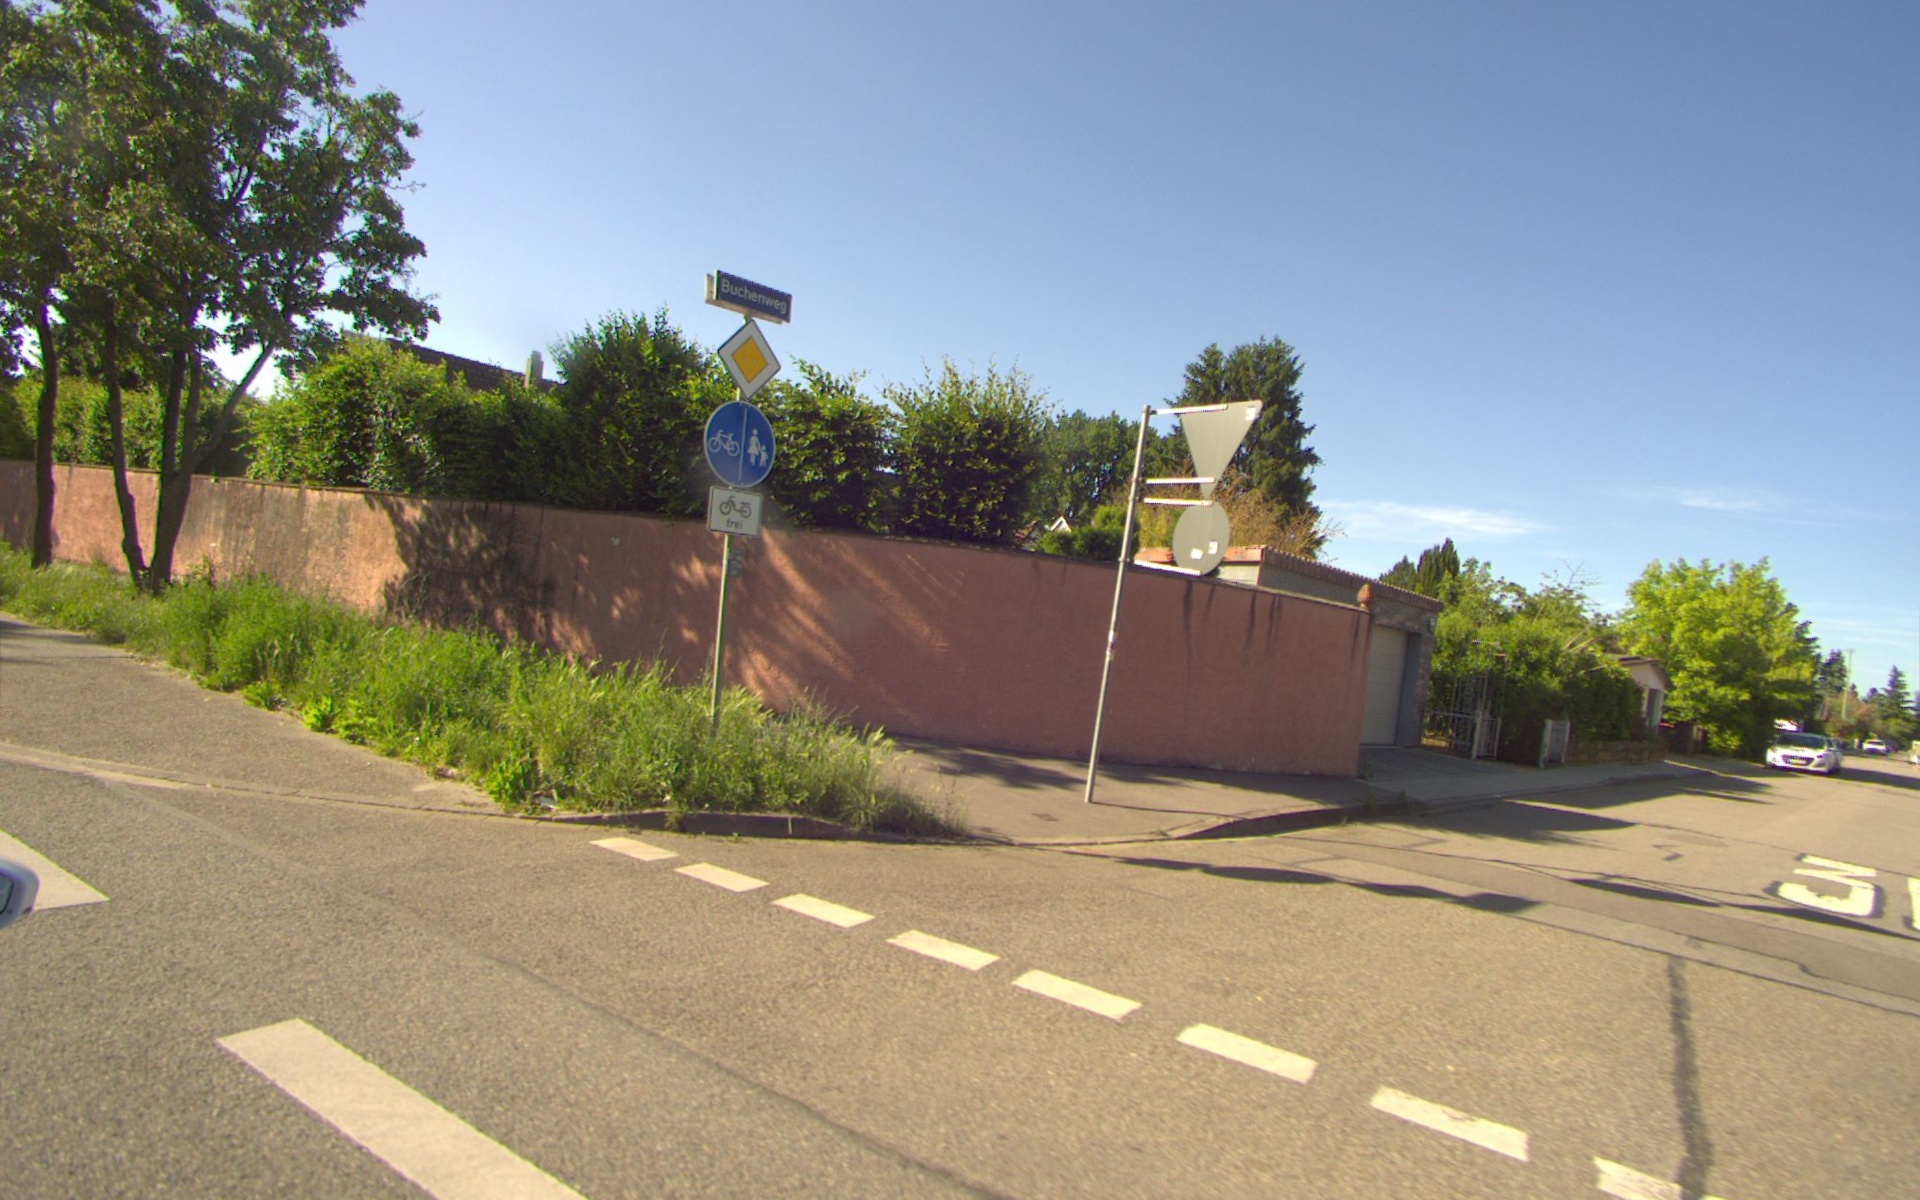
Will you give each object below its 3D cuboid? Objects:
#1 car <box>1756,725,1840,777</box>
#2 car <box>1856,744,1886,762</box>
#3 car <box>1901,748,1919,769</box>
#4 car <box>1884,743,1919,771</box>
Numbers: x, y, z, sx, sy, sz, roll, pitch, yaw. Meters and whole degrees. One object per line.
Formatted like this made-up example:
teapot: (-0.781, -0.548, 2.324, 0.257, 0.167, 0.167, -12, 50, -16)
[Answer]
car: (31.507, 5.662, 37.776, 1.974, 1.537, 3.978, 6, -2, 45)
car: (92.727, 15.594, 102.394, 3.978, 1.459, 1.975, 9, -2, -45)
car: (75.385, 12.532, 78.874, 1.971, 1.459, 3.984, 6, -2, 40)
car: (61.269, 10.174, 65.029, 1.971, 1.459, 3.984, 6, -2, 40)
